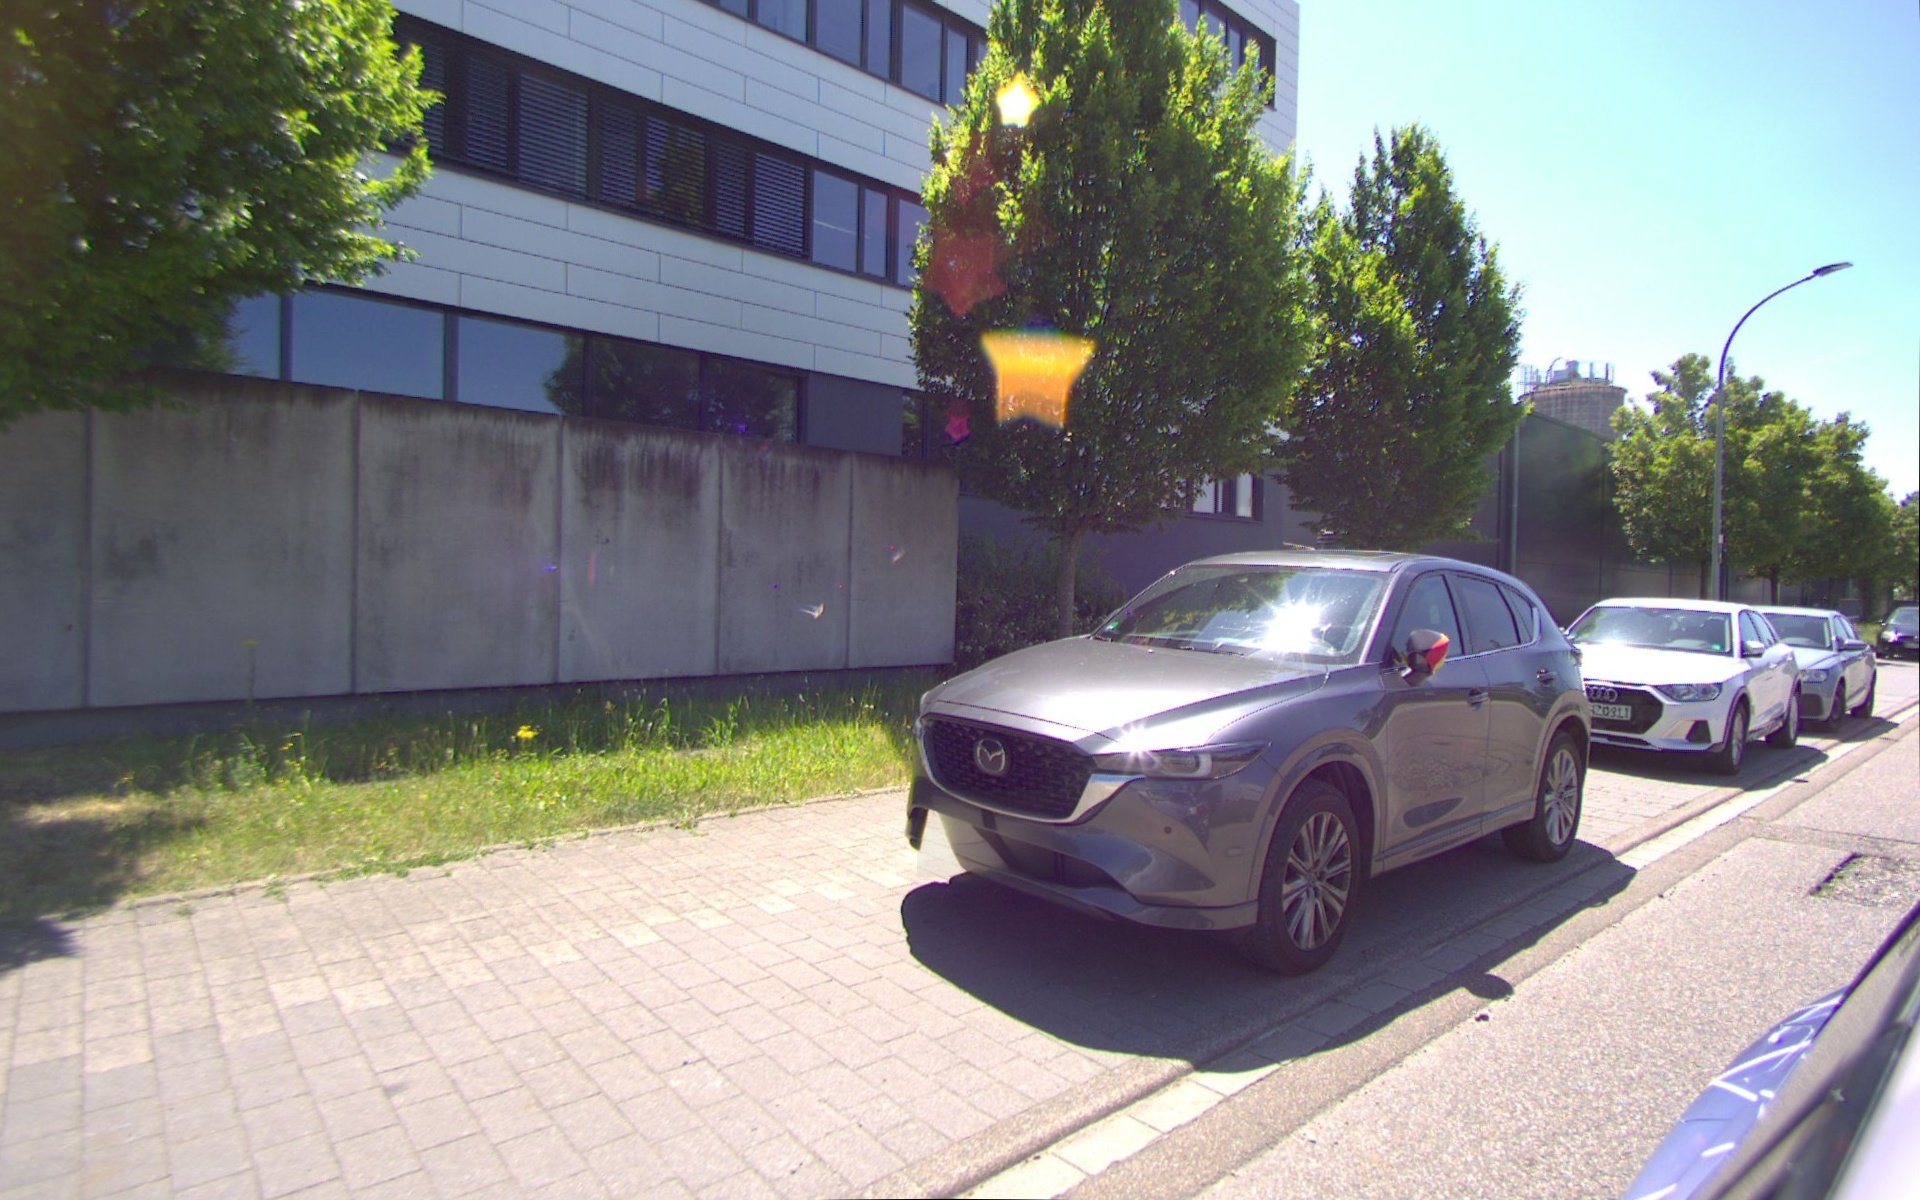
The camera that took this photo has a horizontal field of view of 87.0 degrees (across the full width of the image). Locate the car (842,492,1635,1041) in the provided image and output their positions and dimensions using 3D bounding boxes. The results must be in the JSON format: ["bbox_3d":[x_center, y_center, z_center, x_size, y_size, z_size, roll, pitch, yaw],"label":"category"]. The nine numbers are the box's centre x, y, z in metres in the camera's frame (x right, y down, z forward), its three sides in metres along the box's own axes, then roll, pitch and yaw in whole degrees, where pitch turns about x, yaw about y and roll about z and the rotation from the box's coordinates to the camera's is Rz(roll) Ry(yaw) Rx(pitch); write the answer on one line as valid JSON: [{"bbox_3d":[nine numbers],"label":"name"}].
[{"bbox_3d":[1.695,0.476,5.161,4.286,1.683,1.762,0,3,-41],"label":"car"}]

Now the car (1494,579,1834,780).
[{"bbox_3d":[6.983,0.622,9.894,3.960,1.499,1.720,0,3,-41],"label":"car"}]

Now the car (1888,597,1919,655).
[{"bbox_3d":[27.066,0.720,27.938,4.195,1.494,1.695,0,3,-42],"label":"car"}]

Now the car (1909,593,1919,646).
[{"bbox_3d":[31.804,0.657,32.273,4.633,1.637,1.811,0,3,-42],"label":"car"}]

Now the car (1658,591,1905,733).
[{"bbox_3d":[10.546,0.674,12.909,3.881,1.441,1.720,0,3,-41],"label":"car"}]
